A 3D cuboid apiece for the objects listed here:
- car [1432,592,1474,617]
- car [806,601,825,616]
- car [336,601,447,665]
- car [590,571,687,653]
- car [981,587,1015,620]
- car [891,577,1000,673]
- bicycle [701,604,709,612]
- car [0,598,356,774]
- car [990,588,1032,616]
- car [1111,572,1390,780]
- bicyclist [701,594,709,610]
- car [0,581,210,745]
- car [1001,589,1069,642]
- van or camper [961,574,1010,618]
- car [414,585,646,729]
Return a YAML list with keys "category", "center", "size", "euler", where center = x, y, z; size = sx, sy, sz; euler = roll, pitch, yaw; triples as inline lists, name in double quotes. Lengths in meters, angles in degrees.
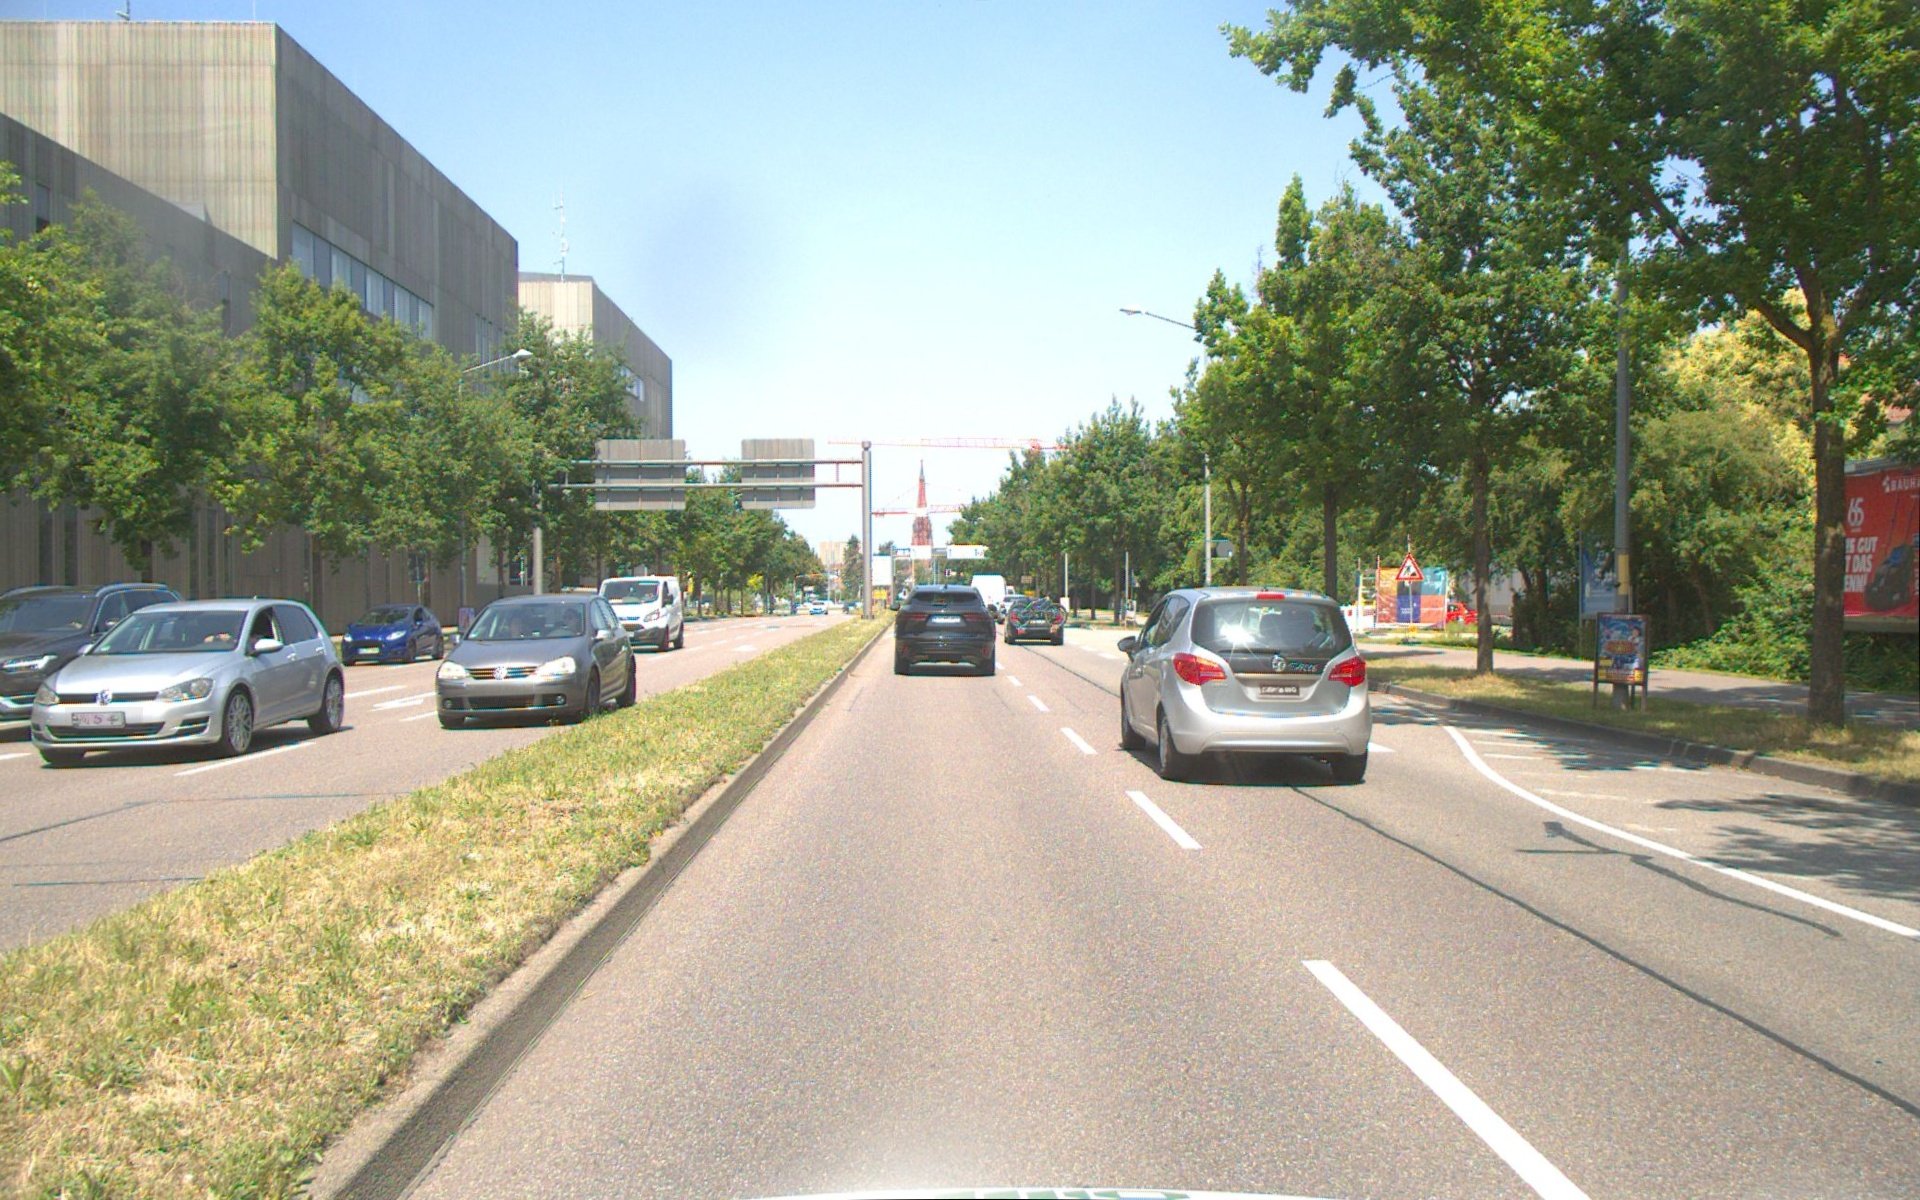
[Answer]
- category: "car"
  center: [24.611, 0.215, 82.673]
  size: [1.350, 1.208, 3.304]
  euler: [-1, 0, 5]
- category: "car"
  center: [-15.066, 0.869, 172.202]
  size: [1.774, 1.452, 4.356]
  euler: [-2, 0, -3]
- category: "car"
  center: [-14.251, 0.787, 41.655]
  size: [1.588, 1.481, 4.014]
  euler: [-1, 0, -3]
- category: "car"
  center: [-8.610, 0.306, 44.659]
  size: [1.871, 2.028, 4.894]
  euler: [-2, 0, -3]
- category: "car"
  center: [2.325, 0.210, 102.791]
  size: [1.953, 2.049, 3.999]
  euler: [0, 0, -1]
- category: "car"
  center: [-0.253, 0.447, 31.936]
  size: [1.957, 1.719, 4.033]
  euler: [1, 0, 0]
- category: "bicycle"
  center: [-24.885, 0.763, 161.609]
  size: [0.471, 0.728, 1.850]
  euler: [-1, -1, 2]
- category: "car"
  center: [-7.618, 0.746, 16.560]
  size: [1.730, 1.486, 4.143]
  euler: [-2, 0, -3]
- category: "car"
  center: [2.593, 0.113, 85.149]
  size: [1.622, 1.380, 4.455]
  euler: [-1, 0, -5]
- category: "car"
  center: [2.474, 0.591, 15.006]
  size: [1.756, 1.640, 3.889]
  euler: [0, 0, -2]
- category: "bicyclist"
  center: [-24.906, 0.215, 161.324]
  size: [0.610, 1.515, 0.757]
  euler: [-1, -1, 1]
- category: "car"
  center: [-11.065, 0.702, 20.306]
  size: [1.774, 1.777, 4.643]
  euler: [-2, 0, -3]
- category: "car"
  center: [2.296, 0.473, 51.627]
  size: [1.973, 1.544, 4.460]
  euler: [-1, 0, 0]
- category: "van or camper"
  center: [1.410, -0.204, 92.940]
  size: [2.443, 2.331, 4.918]
  euler: [-1, 0, -2]
- category: "car"
  center: [-4.995, 0.605, 19.761]
  size: [1.774, 1.492, 4.056]
  euler: [-2, 0, -2]
